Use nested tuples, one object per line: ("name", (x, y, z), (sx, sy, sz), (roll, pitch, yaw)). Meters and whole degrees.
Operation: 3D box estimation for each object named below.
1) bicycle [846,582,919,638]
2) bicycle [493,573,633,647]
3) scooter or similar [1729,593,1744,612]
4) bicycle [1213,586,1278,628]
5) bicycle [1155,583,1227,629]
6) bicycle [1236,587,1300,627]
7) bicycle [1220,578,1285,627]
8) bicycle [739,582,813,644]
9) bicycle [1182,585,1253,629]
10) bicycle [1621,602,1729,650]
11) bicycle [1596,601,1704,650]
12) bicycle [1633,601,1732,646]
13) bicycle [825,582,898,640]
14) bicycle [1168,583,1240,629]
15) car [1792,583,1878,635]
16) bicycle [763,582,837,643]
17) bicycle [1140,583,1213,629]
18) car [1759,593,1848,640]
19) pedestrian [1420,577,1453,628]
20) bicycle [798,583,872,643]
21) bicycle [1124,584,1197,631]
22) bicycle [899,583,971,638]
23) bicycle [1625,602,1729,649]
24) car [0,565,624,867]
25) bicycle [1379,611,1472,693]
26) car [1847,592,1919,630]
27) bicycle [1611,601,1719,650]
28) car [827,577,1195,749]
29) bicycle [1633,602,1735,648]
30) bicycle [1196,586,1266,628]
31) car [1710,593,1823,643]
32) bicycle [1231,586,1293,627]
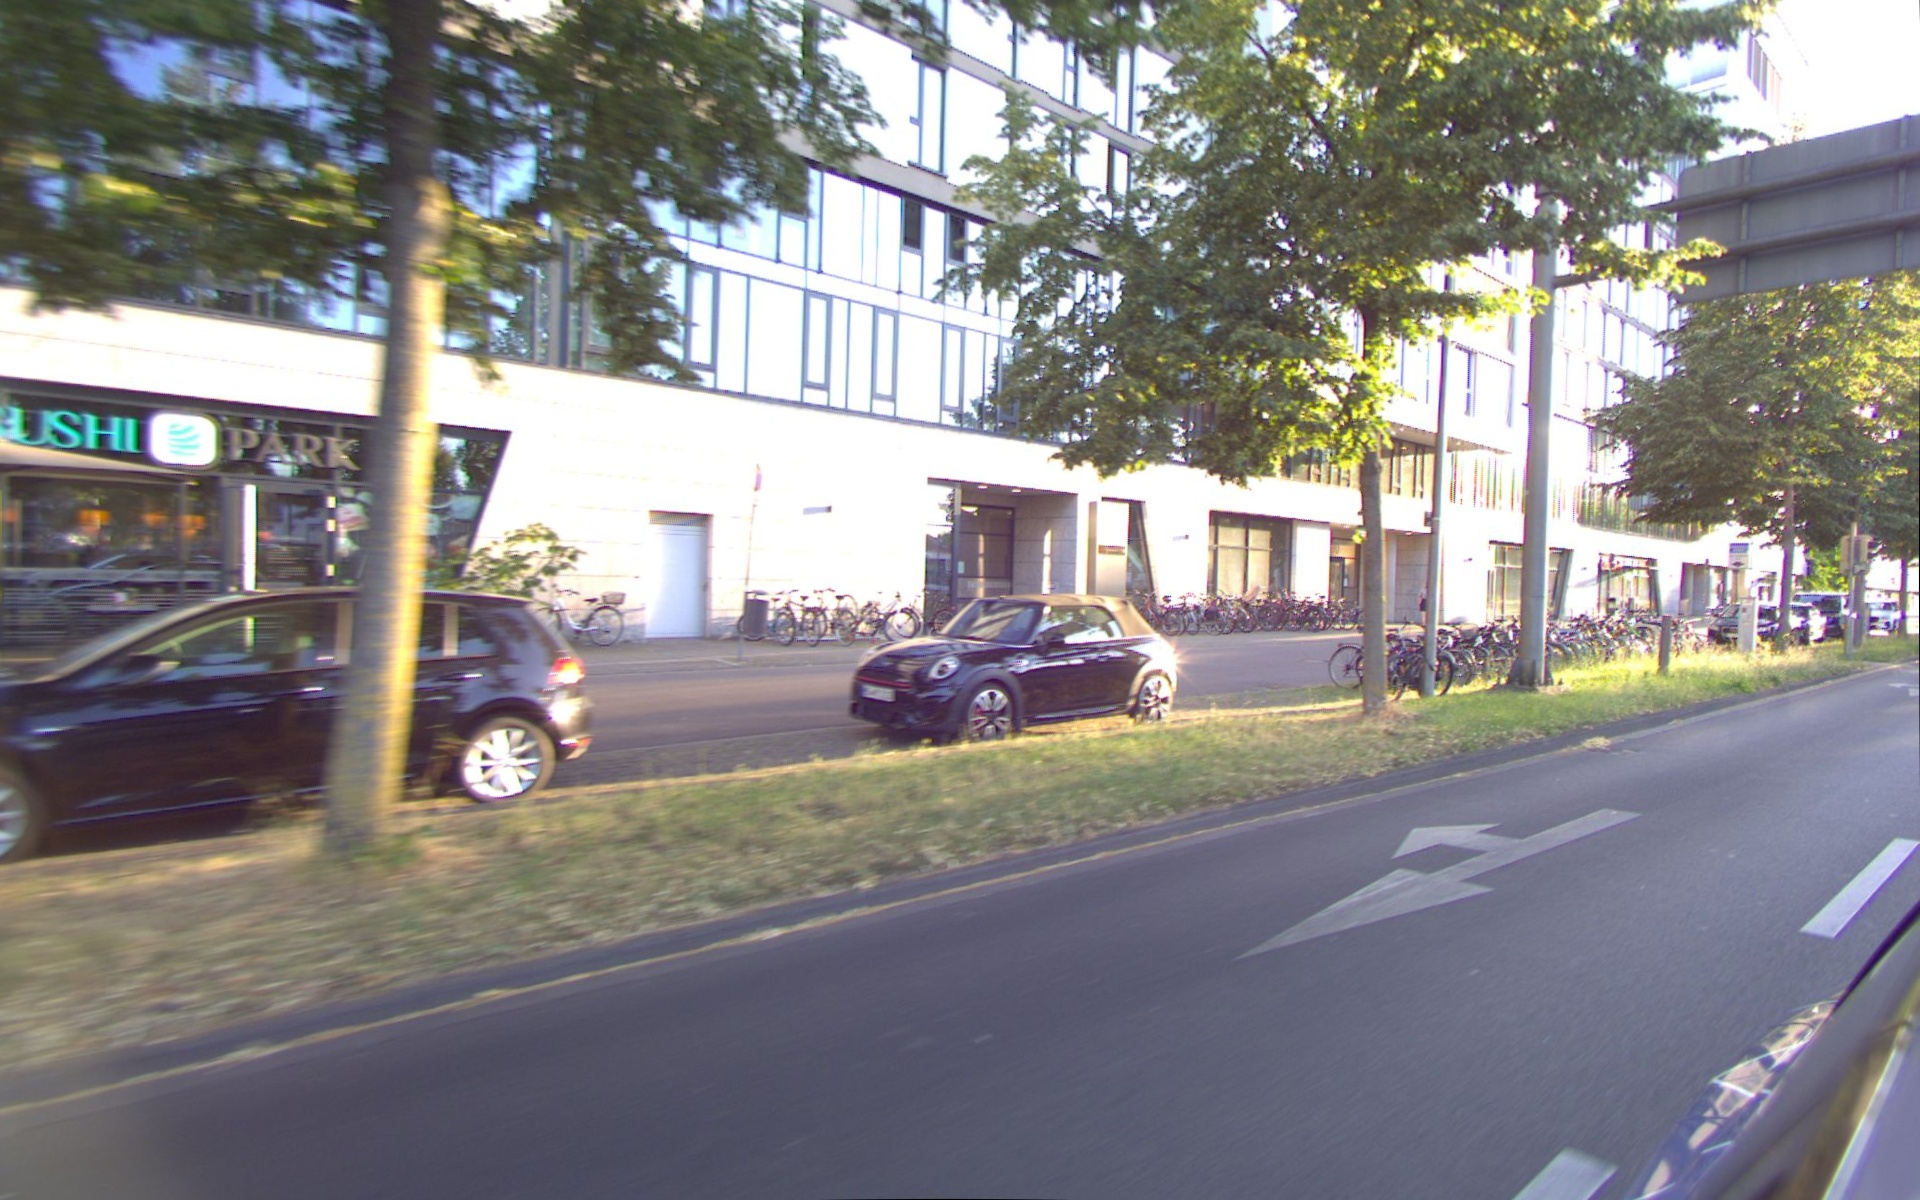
("bicycle", (-1.657, 0.191, 21.382), (0.500, 1.118, 1.786), (0, 1, -44))
("bicycle", (-6.910, 0.160, 17.699), (2.220, 1.223, 0.471), (0, 1, -37))
("scooter or similar", (51.747, 0.182, 67.418), (1.206, 1.226, 0.473), (1, 1, -39))
("bicycle", (8.297, 0.188, 29.475), (0.495, 1.135, 1.833), (1, 1, -42))
("bicycle", (6.281, 0.144, 27.635), (0.495, 1.182, 1.985), (1, 1, -42))
("bicycle", (9.311, 0.205, 30.624), (0.495, 1.127, 1.833), (1, 1, -42))
("bicycle", (8.642, 0.053, 29.911), (0.495, 1.374, 1.833), (1, 1, -42))
("bicycle", (-3.587, 0.223, 19.624), (0.500, 1.118, 1.786), (0, 1, -44))
("bicycle", (7.266, 0.182, 28.630), (0.495, 1.155, 1.985), (1, 1, -42))
("bicycle", (16.449, 0.598, 23.313), (1.941, 1.067, 0.536), (-3, -2, 43))
("bicycle", (15.557, 0.586, 22.866), (1.941, 1.067, 0.402), (-3, -2, 43))
("bicycle", (17.765, 0.586, 24.934), (1.935, 1.067, 0.538), (-2, -2, 36))
("bicycle", (-2.048, 0.205, 20.898), (0.500, 1.118, 1.786), (0, 1, -44))
("bicycle", (6.796, 0.147, 28.285), (0.495, 1.197, 1.985), (1, 1, -42))
("car", (34.521, 0.335, 39.903), (4.585, 1.875, 1.997), (0, 2, -42))
("bicycle", (-3.168, 0.230, 19.973), (0.500, 1.118, 1.786), (0, 1, -44))
("bicycle", (5.773, 0.147, 27.126), (0.495, 1.156, 1.985), (1, 1, -42))
("car", (30.168, 0.550, 36.146), (4.585, 1.489, 1.812), (0, 2, -42))
("pedestrian", (16.120, 0.080, 34.233), (0.937, 1.669, 0.644), (1, 1, -41))
("bicycle", (-2.539, 0.242, 20.458), (0.500, 1.118, 1.786), (0, 1, -44))
("bicycle", (5.317, 0.186, 26.931), (0.495, 1.156, 1.985), (1, 1, -42))
("bicycle", (-0.564, 0.210, 22.205), (0.500, 1.118, 1.786), (0, 1, -44))
("bicycle", (16.884, 0.608, 23.858), (1.938, 1.067, 0.537), (-2, -2, 40))
("car", (-4.538, 0.555, 6.416), (4.214, 1.490, 1.780), (0, 1, -42))
("bicycle", (6.122, 0.659, 13.262), (1.813, 0.992, 0.319), (0, 1, -39))
("car", (43.813, 0.476, 47.871), (4.791, 1.663, 1.998), (0, 2, -39))
("bicycle", (16.017, 0.595, 23.027), (1.941, 1.067, 0.402), (-3, -2, 43))
("car", (0.644, 0.539, 10.692), (3.812, 1.490, 1.579), (0, 1, -40))
("bicycle", (17.394, 0.614, 24.350), (1.935, 1.067, 0.538), (-2, -2, 36))
("bicycle", (7.768, 0.188, 29.057), (0.495, 1.113, 1.985), (1, 1, -42))
("car", (25.463, 0.533, 31.903), (4.562, 1.428, 1.873), (0, 2, -39))
("bicycle", (8.998, 0.183, 30.252), (0.366, 1.138, 1.833), (1, 1, -42))
